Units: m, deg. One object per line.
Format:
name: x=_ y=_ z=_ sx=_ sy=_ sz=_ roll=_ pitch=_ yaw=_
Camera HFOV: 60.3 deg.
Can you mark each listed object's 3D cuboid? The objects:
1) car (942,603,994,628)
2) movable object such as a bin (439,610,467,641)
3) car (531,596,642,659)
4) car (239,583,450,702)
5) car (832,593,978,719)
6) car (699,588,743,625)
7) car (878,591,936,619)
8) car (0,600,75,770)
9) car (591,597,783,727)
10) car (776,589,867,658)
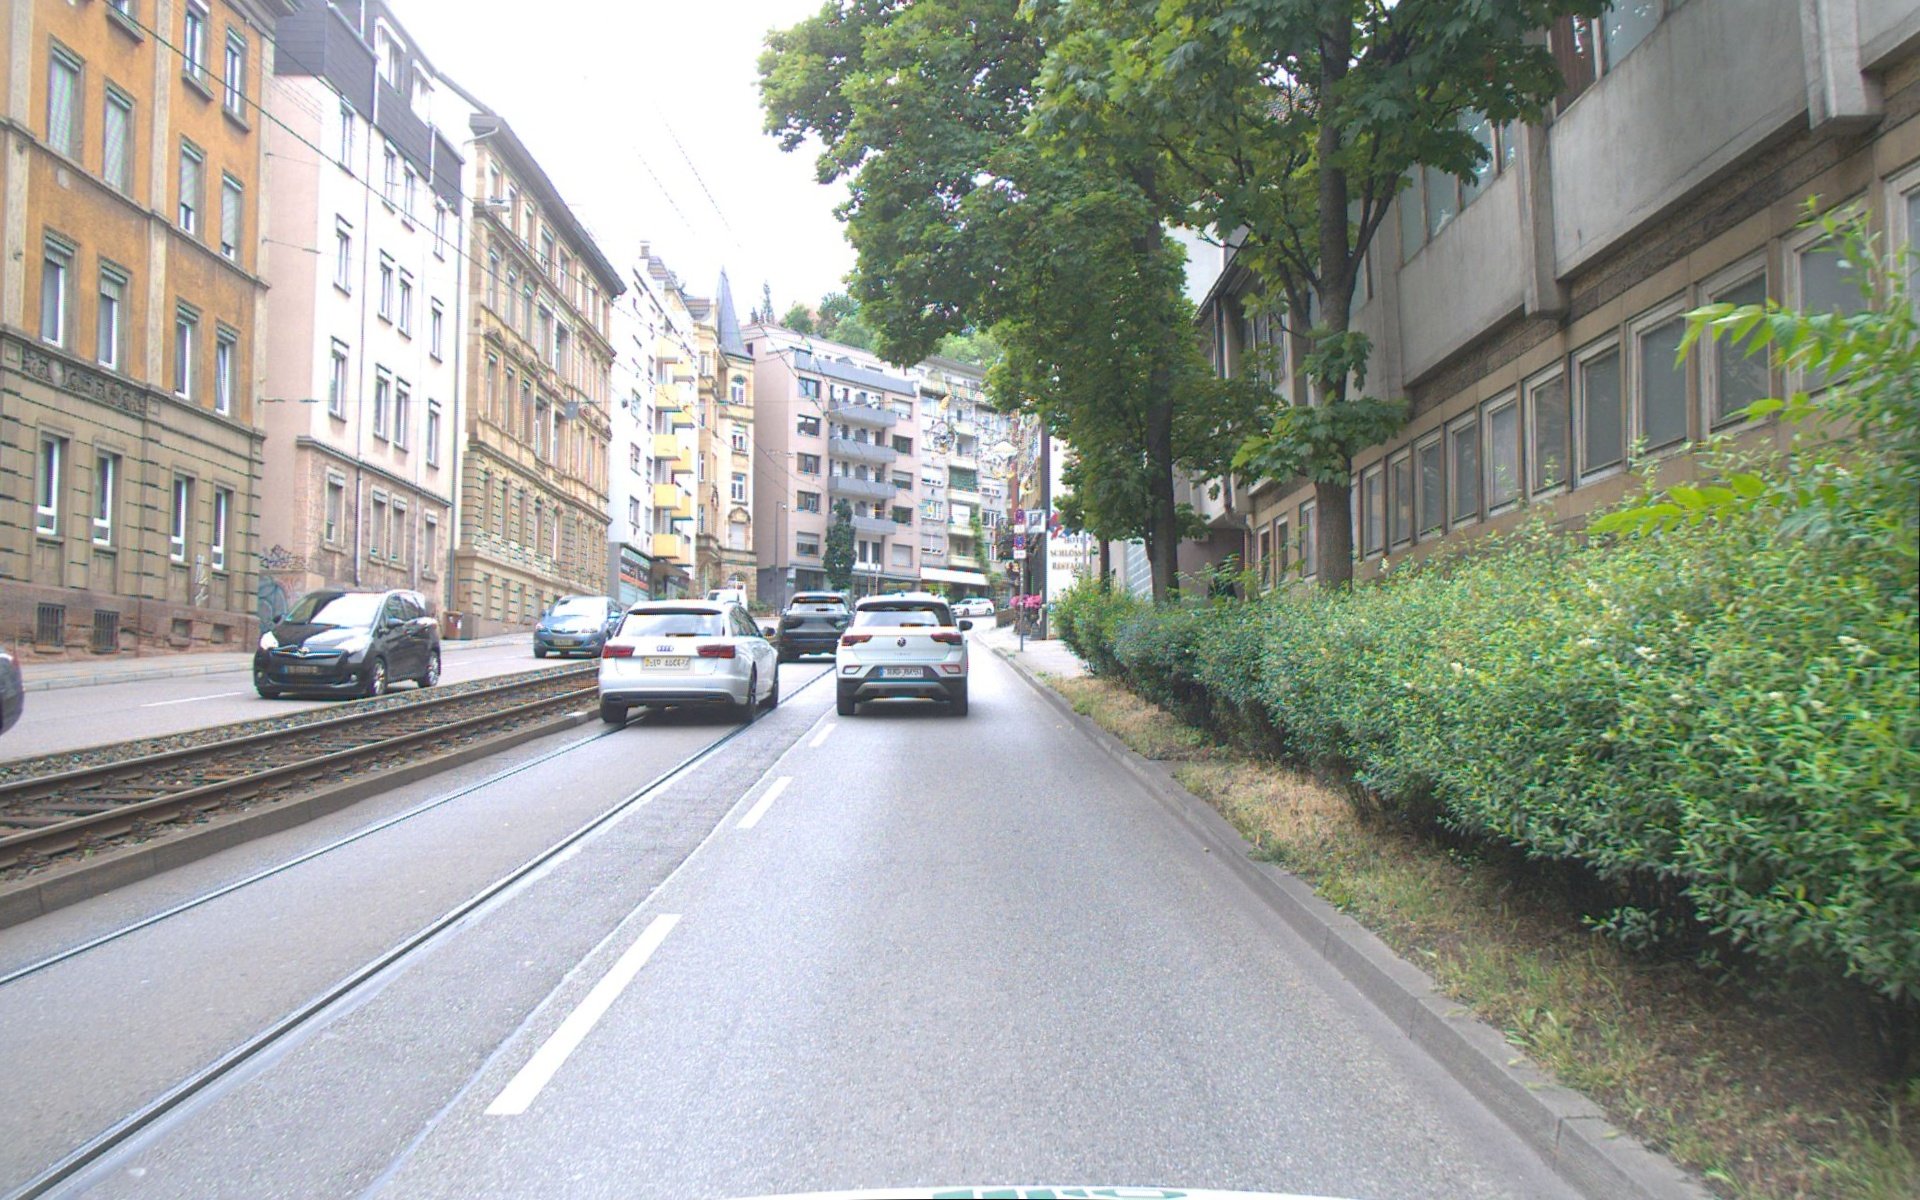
car: x=0.677 y=1.242 z=132.899 sx=1.873 sy=1.956 sz=4.416 roll=0 pitch=0 yaw=38
movable object such as a bin: x=-15.933 y=0.787 z=52.007 sx=0.616 sy=0.926 sz=0.676 roll=4 pitch=0 yaw=-1
car: x=-9.326 y=0.654 z=41.658 sx=1.806 sy=1.480 sz=4.660 roll=0 pitch=0 yaw=-1
car: x=-9.098 y=0.583 z=24.792 sx=1.708 sy=1.624 sz=3.968 roll=0 pitch=0 yaw=-1
car: x=-0.718 y=0.703 z=22.952 sx=1.840 sy=1.582 sz=3.999 roll=0 pitch=0 yaw=-1
car: x=-12.800 y=0.325 z=88.885 sx=1.918 sy=1.933 sz=5.314 roll=0 pitch=0 yaw=-4
car: x=-4.067 y=0.398 z=127.412 sx=1.961 sy=2.071 sz=4.682 roll=0 pitch=0 yaw=37
car: x=-8.715 y=0.693 z=12.275 sx=1.775 sy=1.384 sz=4.764 roll=0 pitch=0 yaw=-1
car: x=-3.364 y=0.727 z=21.227 sx=1.841 sy=1.480 sz=4.615 roll=0 pitch=0 yaw=-2
car: x=-3.337 y=0.531 z=40.604 sx=1.997 sy=1.599 sz=4.357 roll=0 pitch=0 yaw=-2
